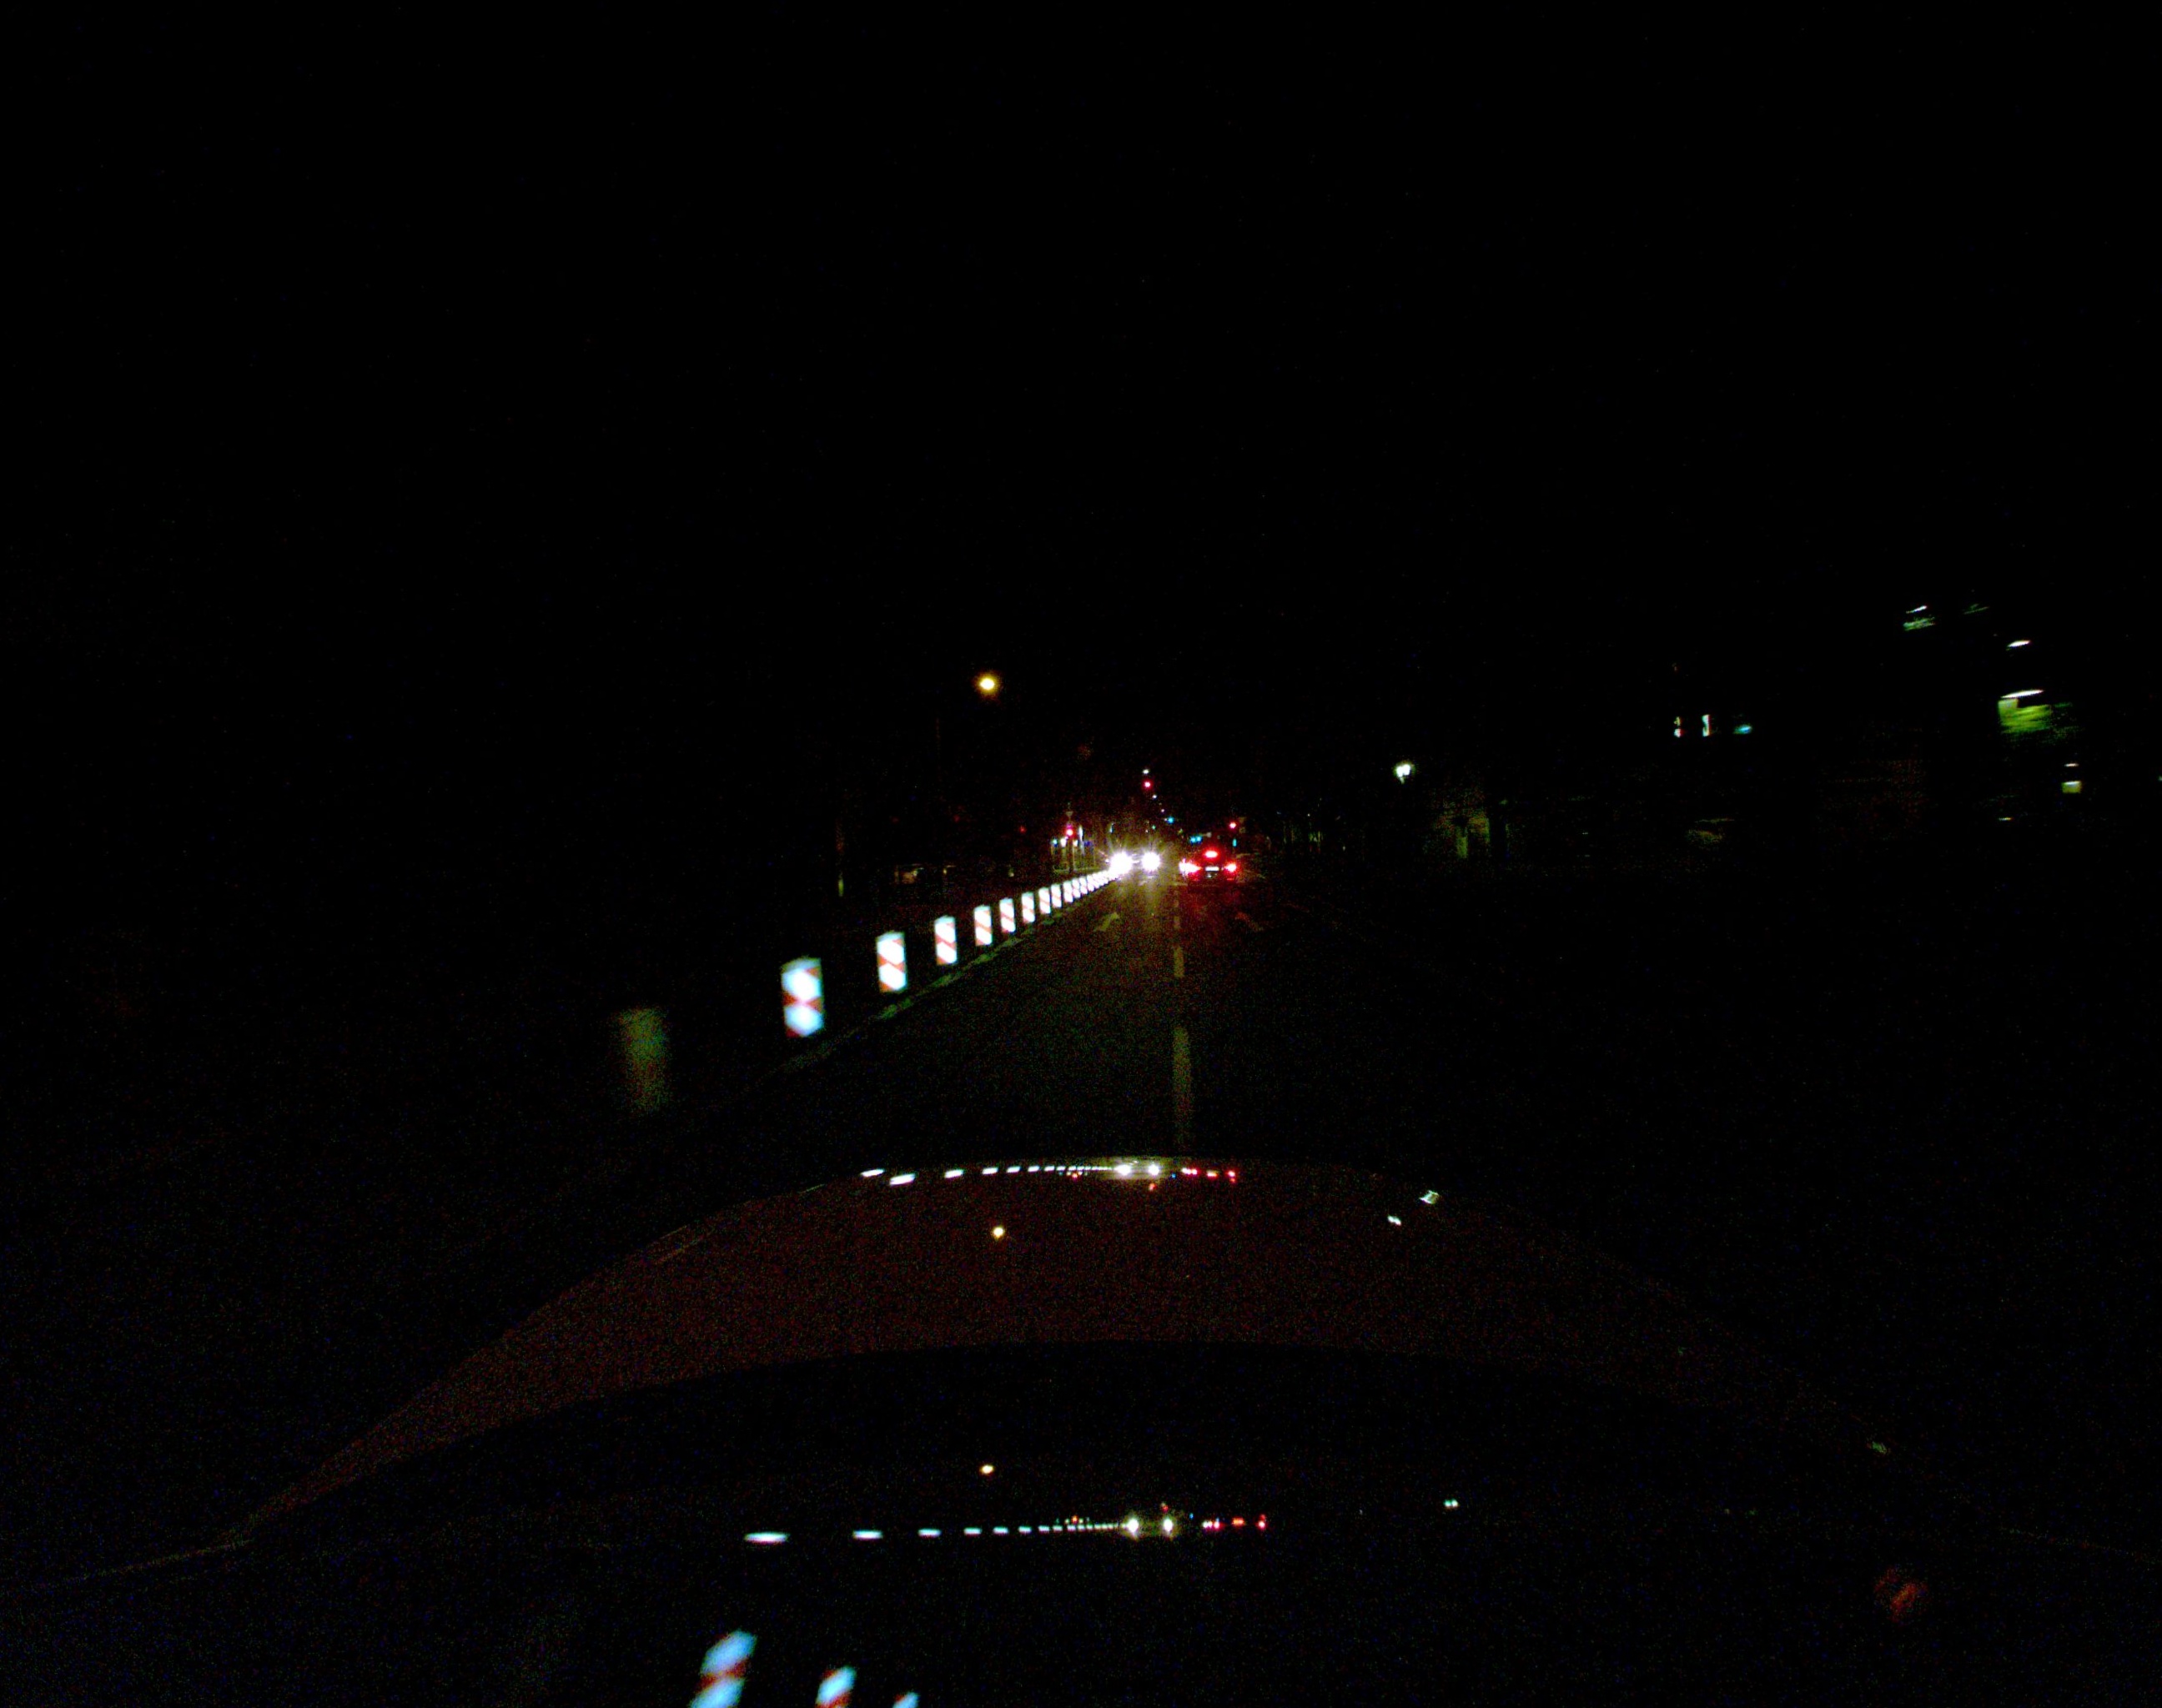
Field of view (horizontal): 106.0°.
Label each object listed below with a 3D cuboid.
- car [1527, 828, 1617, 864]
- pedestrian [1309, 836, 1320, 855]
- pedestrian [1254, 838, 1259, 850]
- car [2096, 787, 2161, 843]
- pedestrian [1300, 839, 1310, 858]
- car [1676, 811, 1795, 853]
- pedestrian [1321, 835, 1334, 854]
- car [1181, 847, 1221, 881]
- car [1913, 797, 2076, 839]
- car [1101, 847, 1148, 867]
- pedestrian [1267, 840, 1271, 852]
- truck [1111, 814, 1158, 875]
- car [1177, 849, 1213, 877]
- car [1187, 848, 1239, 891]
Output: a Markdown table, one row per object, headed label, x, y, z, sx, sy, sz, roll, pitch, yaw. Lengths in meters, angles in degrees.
| label | x | y | z | sx | sy | sz | roll | pitch | yaw |
| --- | --- | --- | --- | --- | --- | --- | --- | --- | --- |
| car | 20.986 | -0.334 | 35.020 | 1.505 | 1.395 | 4.489 | -3 | 0 | 6 |
| pedestrian | 22.792 | -0.821 | 79.509 | 0.735 | 1.769 | 0.908 | -4 | 0 | 6 |
| pedestrian | 29.910 | -1.692 | 138.865 | 0.529 | 2.013 | 0.671 | -3 | 0 | 6 |
| car | 30.557 | -1.133 | 21.847 | 1.759 | 1.533 | 4.106 | -3 | 0 | 6 |
| pedestrian | 21.981 | -0.541 | 79.824 | 0.710 | 1.769 | 0.908 | -4 | 0 | 6 |
| car | 27.135 | -0.870 | 33.939 | 1.775 | 1.533 | 4.002 | -3 | 0 | 2 |
| pedestrian | 24.142 | -0.949 | 79.779 | 0.896 | 1.769 | 0.908 | -4 | 0 | 6 |
| car | 5.559 | 0.426 | 38.043 | 1.629 | 1.494 | 4.007 | -1 | 0 | 6 |
| car | 36.654 | -1.401 | 32.867 | 1.984 | 1.428 | 4.248 | -3 | 0 | 6 |
| car | 4.042 | 0.313 | 75.557 | 4.019 | 1.640 | 1.977 | -3 | 0 | -37 |
| pedestrian | 31.908 | -1.427 | 138.422 | 0.485 | 2.013 | 0.551 | -3 | 0 | 5 |
| truck | 3.827 | -0.644 | 57.698 | 2.743 | 3.717 | 10.125 | -4 | 0 | 4 |
| car | 6.221 | 0.452 | 44.889 | 1.721 | 1.435 | 4.217 | -1 | 0 | 5 |
| car | 5.058 | 0.549 | 31.677 | 1.795 | 1.494 | 4.739 | -1 | 0 | 7 |
